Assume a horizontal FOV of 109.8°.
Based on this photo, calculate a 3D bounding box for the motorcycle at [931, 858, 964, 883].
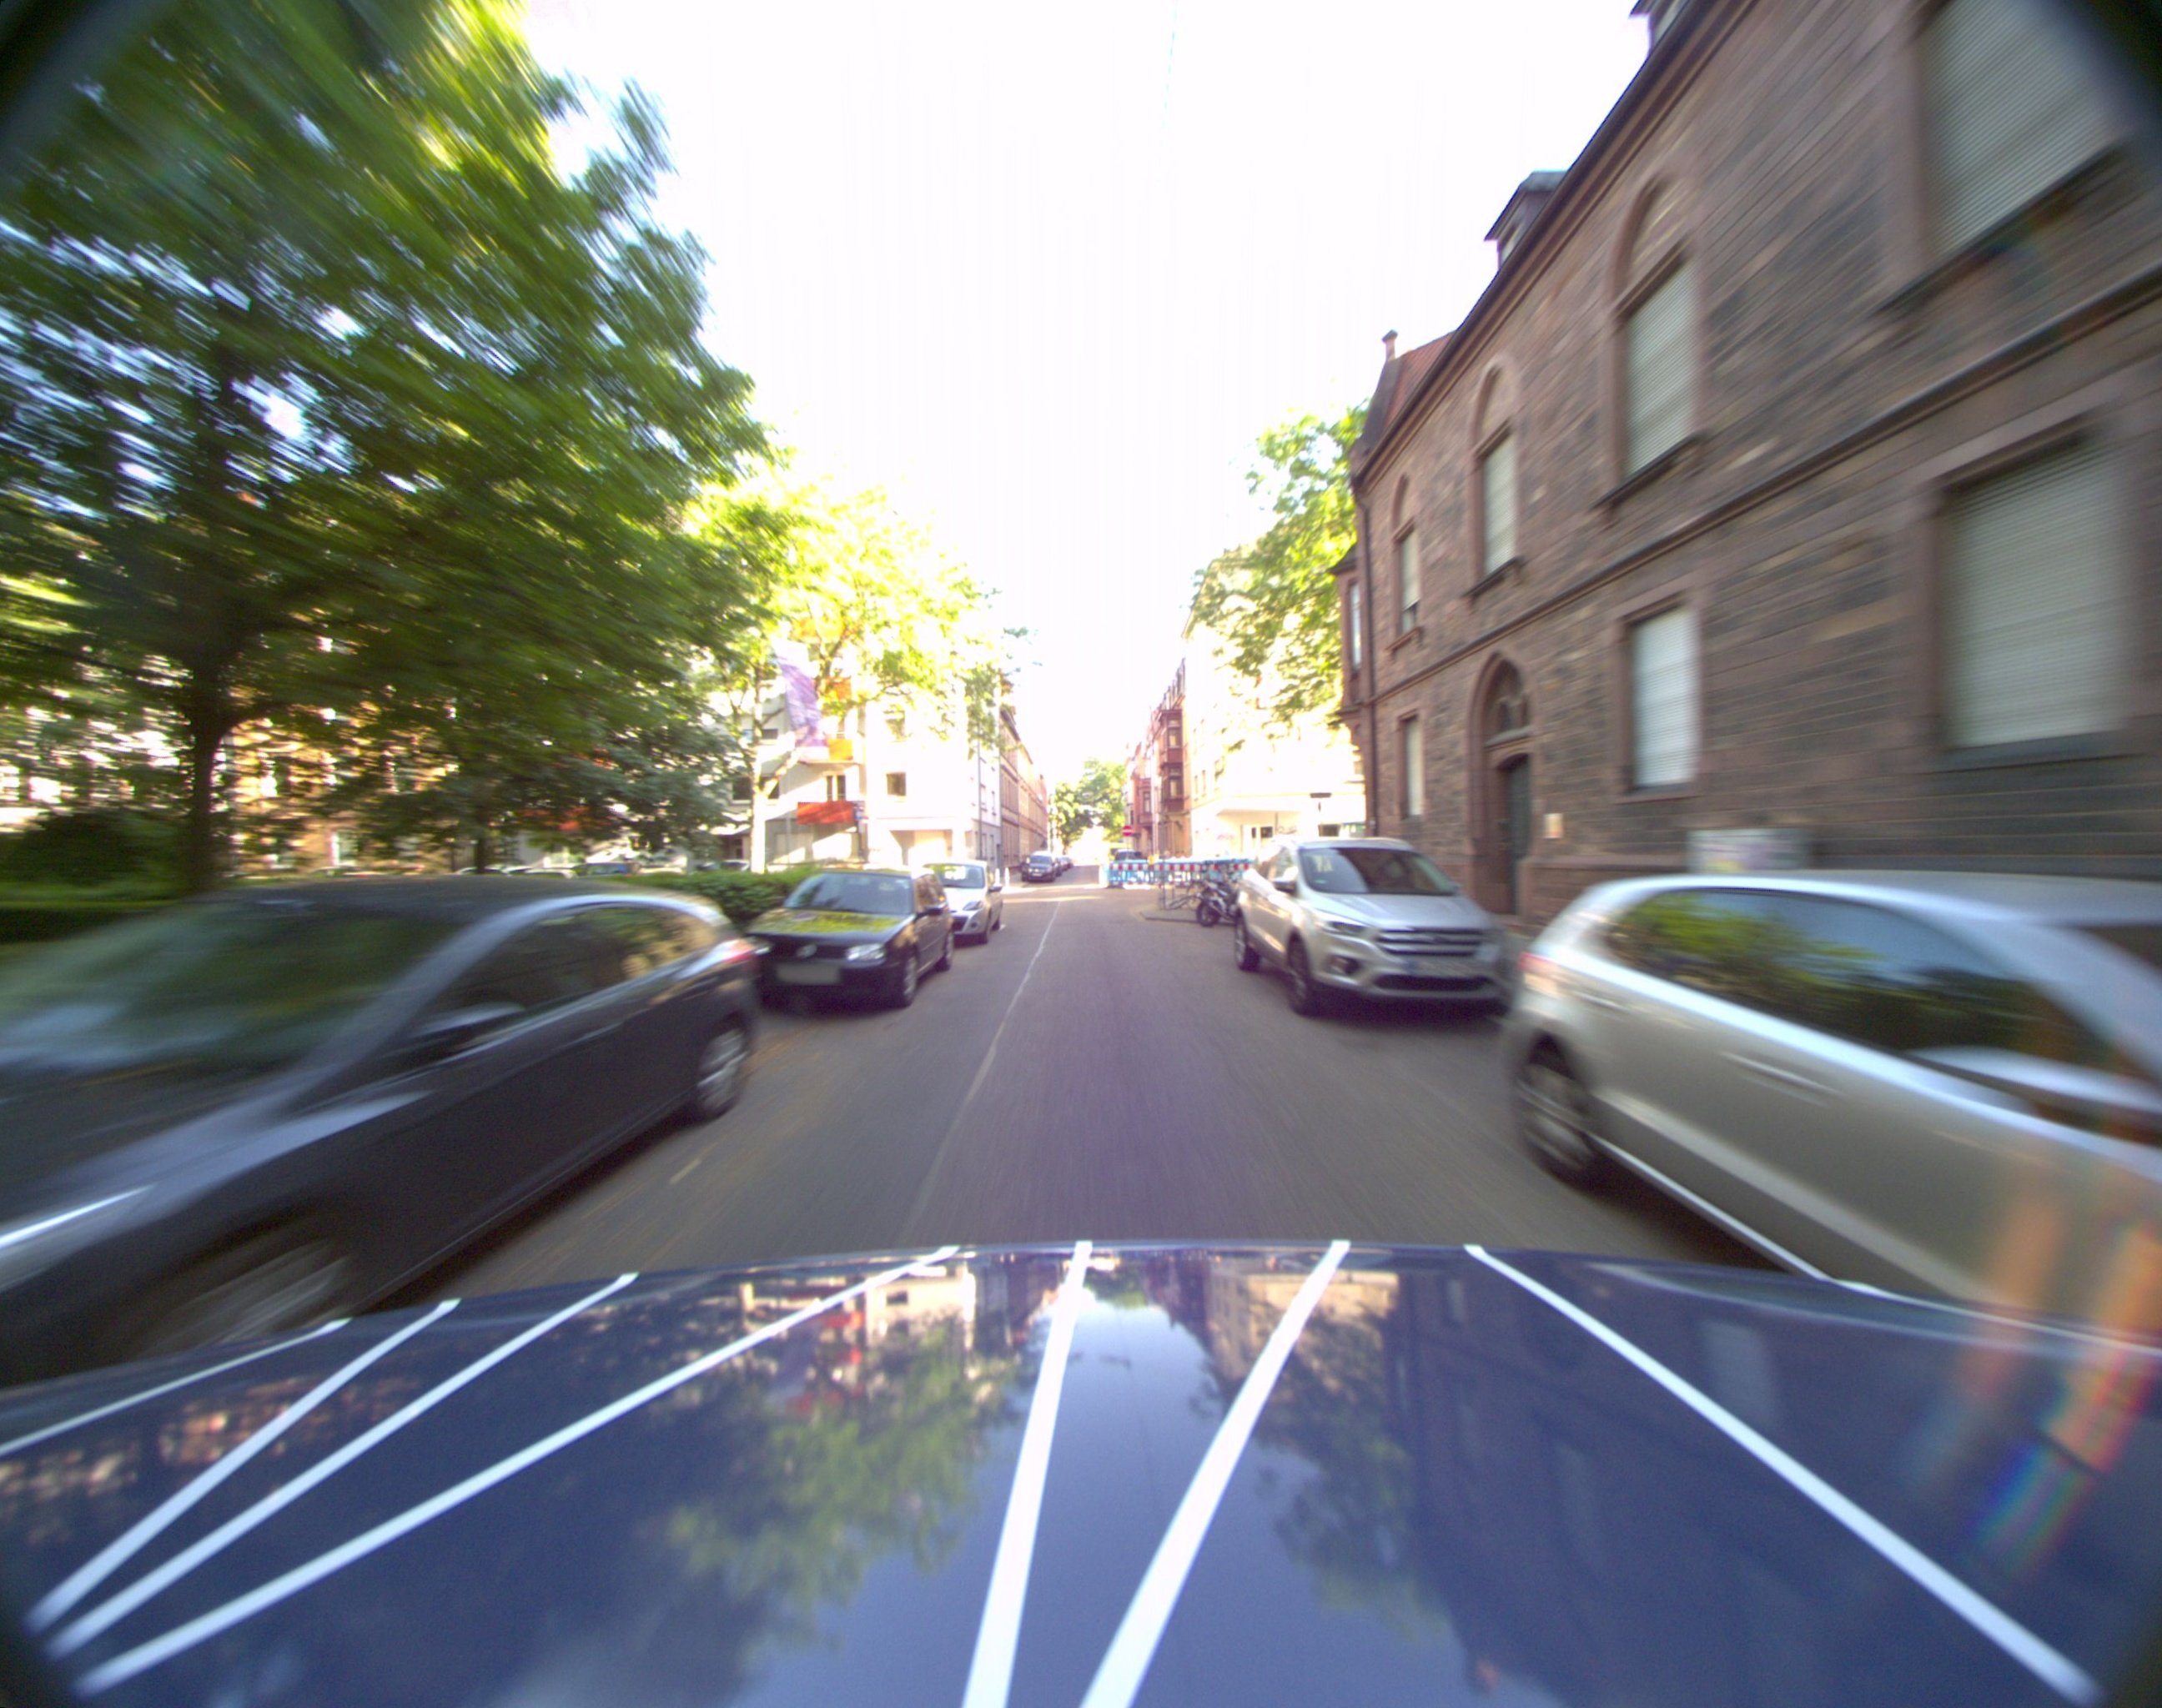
[{"bbox_3d":[-6.420,0.783,36.556,1.472,1.111,0.908,-2,1,-6],"label":"motorcycle"}]

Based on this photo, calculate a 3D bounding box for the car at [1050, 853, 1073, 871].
[{"bbox_3d":[-1.904,0.774,75.331,1.998,1.659,4.000,-1,0,2],"label":"car"}]

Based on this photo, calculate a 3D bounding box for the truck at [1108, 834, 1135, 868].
[{"bbox_3d":[3.231,-0.229,62.238,1.971,2.643,5.884,0,0,1],"label":"truck"}]

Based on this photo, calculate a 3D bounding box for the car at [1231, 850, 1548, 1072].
[{"bbox_3d":[2.835,0.833,8.106,1.713,1.665,4.277,1,1,2],"label":"car"}]

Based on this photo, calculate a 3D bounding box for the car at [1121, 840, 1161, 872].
[{"bbox_3d":[3.435,0.107,43.986,1.776,1.695,3.999,-2,0,-3],"label":"car"}]

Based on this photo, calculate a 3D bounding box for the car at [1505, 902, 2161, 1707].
[{"bbox_3d":[2.924,0.987,1.848,1.713,1.409,3.803,1,1,1],"label":"car"}]

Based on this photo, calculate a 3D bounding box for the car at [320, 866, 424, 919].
[{"bbox_3d":[-22.945,1.171,24.761,1.785,1.423,4.404,-3,2,-35],"label":"car"}]

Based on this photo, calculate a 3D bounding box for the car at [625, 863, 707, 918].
[{"bbox_3d":[-13.259,1.074,24.158,1.785,1.423,4.404,-3,2,-35],"label":"car"}]

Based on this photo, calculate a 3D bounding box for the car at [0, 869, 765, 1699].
[{"bbox_3d":[-3.004,0.934,2.995,1.668,1.511,4.060,3,1,1],"label":"car"}]

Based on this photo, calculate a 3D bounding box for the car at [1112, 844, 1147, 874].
[{"bbox_3d":[3.121,0.298,49.296,1.805,1.841,3.999,-2,0,-3],"label":"car"}]

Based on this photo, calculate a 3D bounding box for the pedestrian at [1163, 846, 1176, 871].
[{"bbox_3d":[5.686,0.305,48.781,0.670,1.585,0.597,-2,1,-3],"label":"pedestrian"}]

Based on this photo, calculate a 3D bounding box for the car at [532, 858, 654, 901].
[{"bbox_3d":[-20.761,1.056,32.453,4.036,1.608,1.649,-1,3,0],"label":"car"}]

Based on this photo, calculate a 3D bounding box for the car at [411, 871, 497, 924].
[{"bbox_3d":[-20.886,1.378,25.482,1.785,1.423,4.404,-3,2,-35],"label":"car"}]

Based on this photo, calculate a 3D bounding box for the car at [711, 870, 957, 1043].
[{"bbox_3d":[-2.571,0.975,8.935,1.625,1.428,4.002,0,1,-1],"label":"car"}]

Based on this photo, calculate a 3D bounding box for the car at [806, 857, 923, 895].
[{"bbox_3d":[-9.168,0.912,32.419,4.412,1.423,1.782,-2,1,0],"label":"car"}]

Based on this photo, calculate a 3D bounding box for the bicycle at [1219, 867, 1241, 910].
[{"bbox_3d":[3.686,0.845,18.847,0.234,1.036,1.198,-2,-1,-3],"label":"bicycle"}]

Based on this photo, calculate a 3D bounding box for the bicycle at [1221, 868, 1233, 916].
[{"bbox_3d":[3.386,0.862,17.618,0.233,1.036,1.199,-2,0,11],"label":"bicycle"}]

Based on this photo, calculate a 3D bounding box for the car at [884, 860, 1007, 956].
[{"bbox_3d":[-2.436,0.916,14.555,1.713,1.511,3.830,0,1,-1],"label":"car"}]

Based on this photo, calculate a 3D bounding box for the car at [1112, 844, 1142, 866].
[{"bbox_3d":[3.390,0.070,56.991,1.998,1.583,4.000,-1,0,1],"label":"car"}]

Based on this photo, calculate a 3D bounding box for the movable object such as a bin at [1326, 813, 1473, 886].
[{"bbox_3d":[12.919,-0.222,31.104,5.149,2.733,2.000,-2,3,5],"label":"movable object such as a bin"}]

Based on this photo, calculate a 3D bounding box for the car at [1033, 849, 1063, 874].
[{"bbox_3d":[-2.404,0.521,54.566,1.999,1.659,3.998,-1,0,-4],"label":"car"}]

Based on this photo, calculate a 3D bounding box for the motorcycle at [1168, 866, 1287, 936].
[{"bbox_3d":[2.863,0.887,15.089,0.703,1.244,2.320,-2,2,-44],"label":"motorcycle"}]

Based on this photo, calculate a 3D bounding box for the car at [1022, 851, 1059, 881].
[{"bbox_3d":[-2.290,0.641,43.723,1.845,1.643,4.000,0,0,1],"label":"car"}]

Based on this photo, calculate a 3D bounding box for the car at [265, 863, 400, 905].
[{"bbox_3d":[-31.900,1.252,32.478,4.000,1.571,1.649,-1,3,0],"label":"car"}]

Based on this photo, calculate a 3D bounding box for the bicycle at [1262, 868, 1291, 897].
[{"bbox_3d":[6.376,0.928,24.863,0.492,0.920,1.758,-2,-1,1],"label":"bicycle"}]

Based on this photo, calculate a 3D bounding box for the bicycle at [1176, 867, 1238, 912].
[{"bbox_3d":[3.005,0.836,18.304,0.234,1.037,1.679,-5,3,-39],"label":"bicycle"}]

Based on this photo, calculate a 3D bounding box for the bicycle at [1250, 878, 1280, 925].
[{"bbox_3d":[4.071,1.032,16.881,0.234,0.901,1.420,-3,2,-2],"label":"bicycle"}]

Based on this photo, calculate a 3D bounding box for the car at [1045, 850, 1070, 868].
[{"bbox_3d":[-2.130,0.440,70.489,1.998,1.659,4.000,-1,0,2],"label":"car"}]

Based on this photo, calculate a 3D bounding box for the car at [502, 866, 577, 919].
[{"bbox_3d":[-17.618,1.187,24.833,1.785,1.423,4.404,-3,2,-35],"label":"car"}]

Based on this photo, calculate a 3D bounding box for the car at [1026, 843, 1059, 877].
[{"bbox_3d":[-2.538,0.352,49.549,1.999,2.052,3.998,-1,0,-4],"label":"car"}]

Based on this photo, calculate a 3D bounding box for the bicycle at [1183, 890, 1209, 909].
[{"bbox_3d":[3.003,1.190,19.908,0.451,0.440,1.198,-2,-1,-3],"label":"bicycle"}]

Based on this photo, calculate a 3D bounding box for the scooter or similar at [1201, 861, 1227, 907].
[{"bbox_3d":[3.502,0.787,20.069,0.446,1.167,1.165,-2,-2,1],"label":"scooter or similar"}]

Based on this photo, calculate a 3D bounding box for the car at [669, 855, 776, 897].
[{"bbox_3d":[-15.271,0.922,32.508,3.695,1.550,1.649,-1,3,0],"label":"car"}]

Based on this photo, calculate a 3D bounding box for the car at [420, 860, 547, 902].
[{"bbox_3d":[-25.500,1.145,32.537,4.000,1.571,1.649,-1,3,0],"label":"car"}]
